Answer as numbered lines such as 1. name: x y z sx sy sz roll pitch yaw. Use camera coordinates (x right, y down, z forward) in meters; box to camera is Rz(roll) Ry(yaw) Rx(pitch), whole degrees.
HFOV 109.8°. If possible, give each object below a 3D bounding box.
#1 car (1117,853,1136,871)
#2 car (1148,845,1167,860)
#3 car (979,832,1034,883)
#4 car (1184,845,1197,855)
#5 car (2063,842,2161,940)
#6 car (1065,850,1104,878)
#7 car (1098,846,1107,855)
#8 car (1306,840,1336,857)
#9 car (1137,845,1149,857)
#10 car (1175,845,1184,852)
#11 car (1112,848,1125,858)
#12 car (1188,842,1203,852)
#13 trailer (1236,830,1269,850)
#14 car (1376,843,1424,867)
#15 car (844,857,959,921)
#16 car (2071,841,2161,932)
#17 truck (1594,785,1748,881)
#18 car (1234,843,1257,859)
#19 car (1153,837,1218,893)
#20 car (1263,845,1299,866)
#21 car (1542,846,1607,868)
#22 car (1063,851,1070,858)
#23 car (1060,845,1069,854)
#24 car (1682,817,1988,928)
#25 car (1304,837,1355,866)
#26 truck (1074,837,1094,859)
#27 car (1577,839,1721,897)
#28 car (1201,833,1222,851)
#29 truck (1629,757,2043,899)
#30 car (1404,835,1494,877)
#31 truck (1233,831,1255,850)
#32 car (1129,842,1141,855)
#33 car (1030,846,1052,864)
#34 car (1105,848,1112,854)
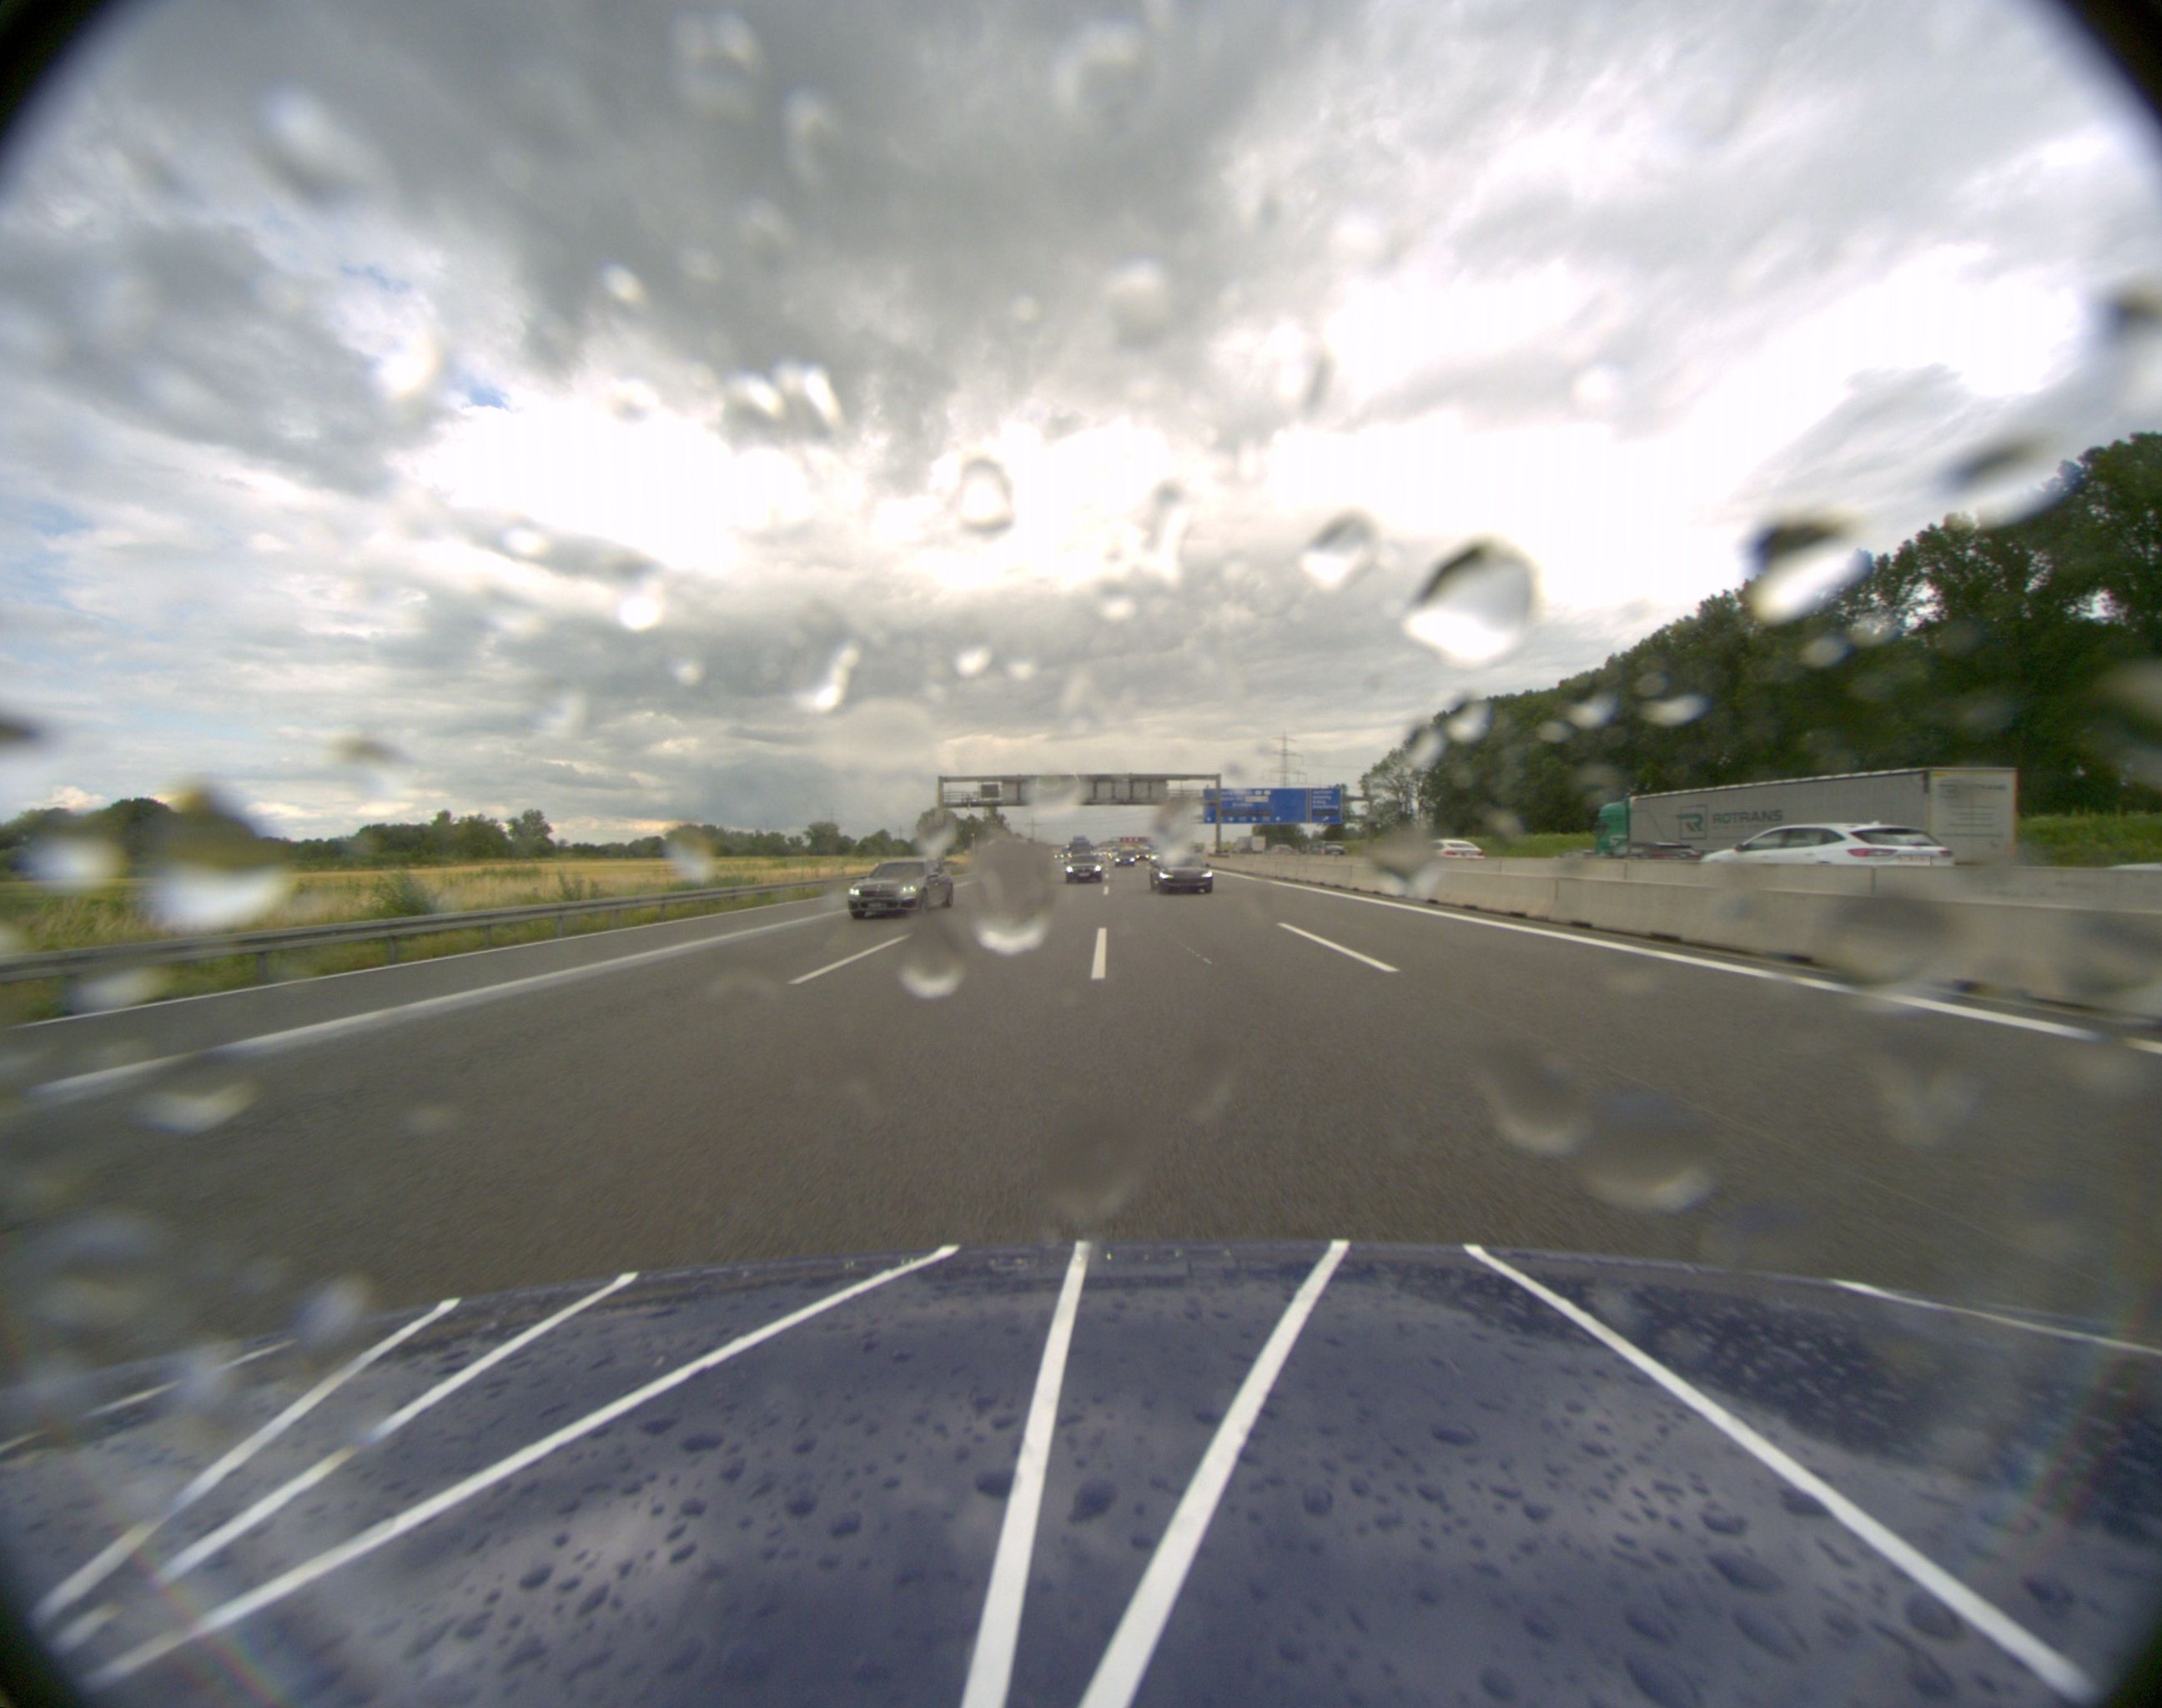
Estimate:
1. car: 4.441 0.733 73.184 1.710 1.562 4.347 -2 1 5
2. car: 8.222 -0.166 82.056 1.822 1.565 4.000 -2 1 2
3. car: -3.906 0.162 40.811 2.145 2.486 5.448 -2 1 2
4. car: 21.072 -0.770 146.165 1.998 1.717 4.017 -2 1 1
5. car: 23.535 0.775 15.146 1.998 2.002 4.638 -2 1 2
6. car: 0.236 0.500 41.647 1.922 1.407 4.000 -1 0 2
7. car: 5.069 -0.834 178.298 1.998 1.810 5.163 -2 1 2
8. car: 26.472 -0.666 84.010 1.709 1.783 4.969 -2 1 1
9. car: 8.725 -0.496 106.955 1.710 1.621 4.001 -2 1 5
10. car: 26.538 -1.501 204.026 1.998 1.717 4.017 -2 1 2
11. car: 5.705 -0.100 115.969 1.806 1.424 3.999 -2 1 0
12. car: 19.407 -1.165 129.004 1.873 1.648 4.000 -2 1 2
13. trailer: 32.506 -2.615 144.629 3.117 3.487 14.451 -2 1 1
14. car: 26.147 0.035 62.467 1.998 1.842 5.078 -1 0 2
15. car: -4.836 0.881 21.231 1.944 1.482 4.775 -2 1 1
16. car: 23.499 0.677 15.083 1.998 1.844 4.401 -2 1 1
17. truck: 28.585 -0.955 37.212 3.126 4.257 5.911 -1 1 2
18. car: 19.343 -0.377 89.491 1.709 1.783 4.429 -2 1 1
19. car: 3.720 0.333 27.868 1.998 1.810 5.163 -2 1 4
20. car: 18.529 0.096 70.554 1.998 1.874 5.186 -2 1 1
21. car: 33.585 0.167 51.854 1.806 1.424 3.999 -2 1 0
22. car: -3.287 0.085 176.992 1.545 1.419 3.999 -1 1 0
23. car: -3.562 -0.975 163.006 1.835 2.002 3.862 -2 1 0
24. car: 15.792 0.321 16.405 1.998 2.002 4.763 -2 1 2
25. car: 17.103 -0.190 52.568 1.998 1.887 5.186 -2 1 2
26. truck: 0.453 -0.788 97.941 2.391 2.726 6.593 -2 1 1
27. car: 20.982 0.453 28.359 1.998 1.922 4.638 -2 1 2
28. car: 19.351 -1.770 113.078 1.998 2.601 6.342 -2 1 1
29. truck: 28.349 -0.882 30.448 3.155 4.288 13.952 -2 1 2
30. car: 17.307 0.068 36.043 1.998 1.842 5.078 -1 0 2
31. truck: 32.631 -2.670 152.039 3.143 3.487 6.100 -2 1 1
32. car: 10.787 -1.177 151.466 2.144 2.486 5.449 -2 1 5
33. car: -3.765 0.112 72.377 1.999 1.632 4.629 -1 0 -1
34. car: 7.934 -0.946 221.430 1.998 1.801 4.273 -1 1 2
